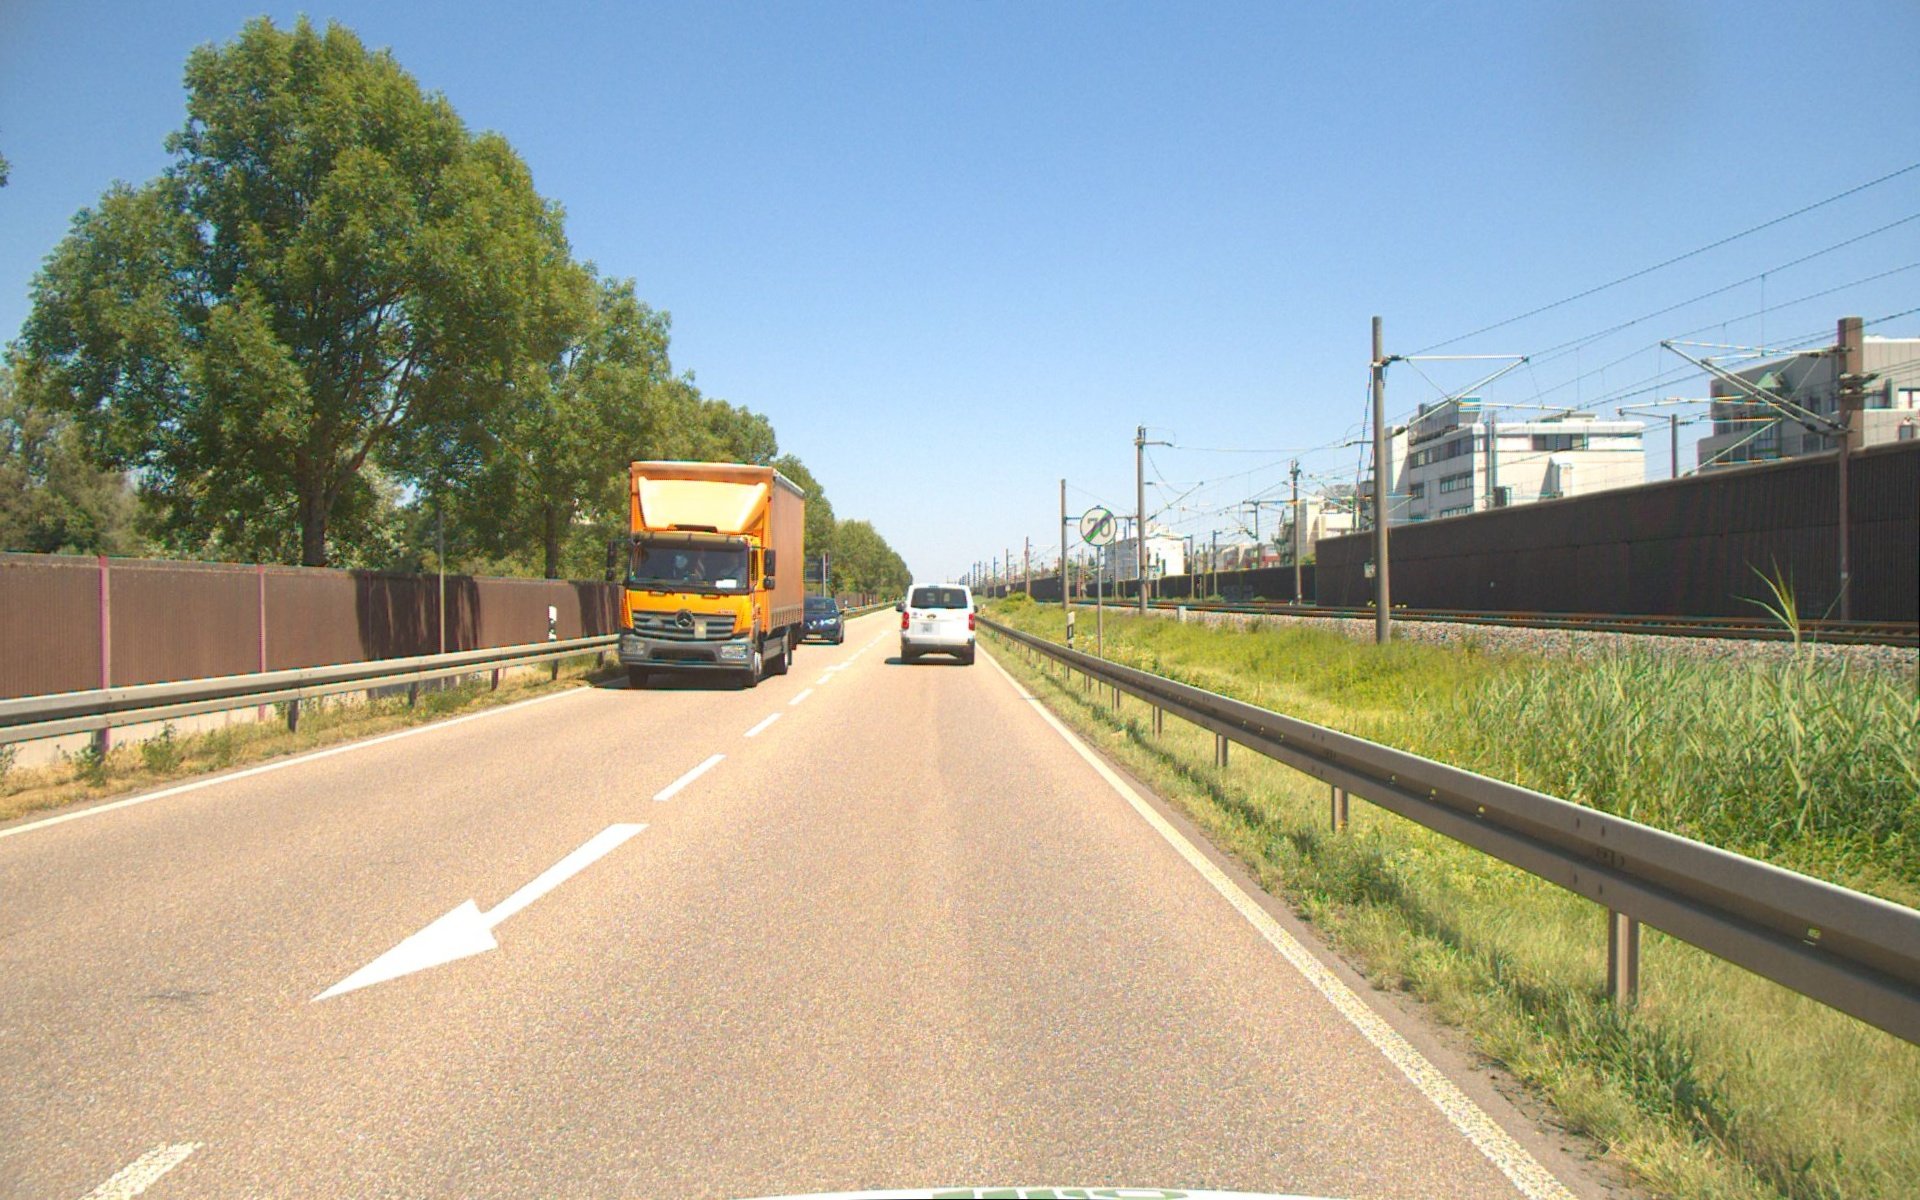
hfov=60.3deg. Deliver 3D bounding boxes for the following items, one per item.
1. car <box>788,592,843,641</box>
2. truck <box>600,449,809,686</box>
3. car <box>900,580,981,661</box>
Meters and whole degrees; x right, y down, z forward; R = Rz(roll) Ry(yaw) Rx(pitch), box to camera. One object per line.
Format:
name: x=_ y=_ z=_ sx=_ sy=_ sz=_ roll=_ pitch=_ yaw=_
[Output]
car: x=-4.933 y=0.545 z=56.732 sx=1.589 sy=1.605 sz=3.762 roll=0 pitch=1 yaw=-1
truck: x=-4.651 y=-0.531 z=32.043 sx=2.735 sy=3.907 sz=9.322 roll=0 pitch=0 yaw=-1
car: x=-0.508 y=0.502 z=41.850 sx=1.906 sy=1.914 sz=4.879 roll=0 pitch=0 yaw=-1
